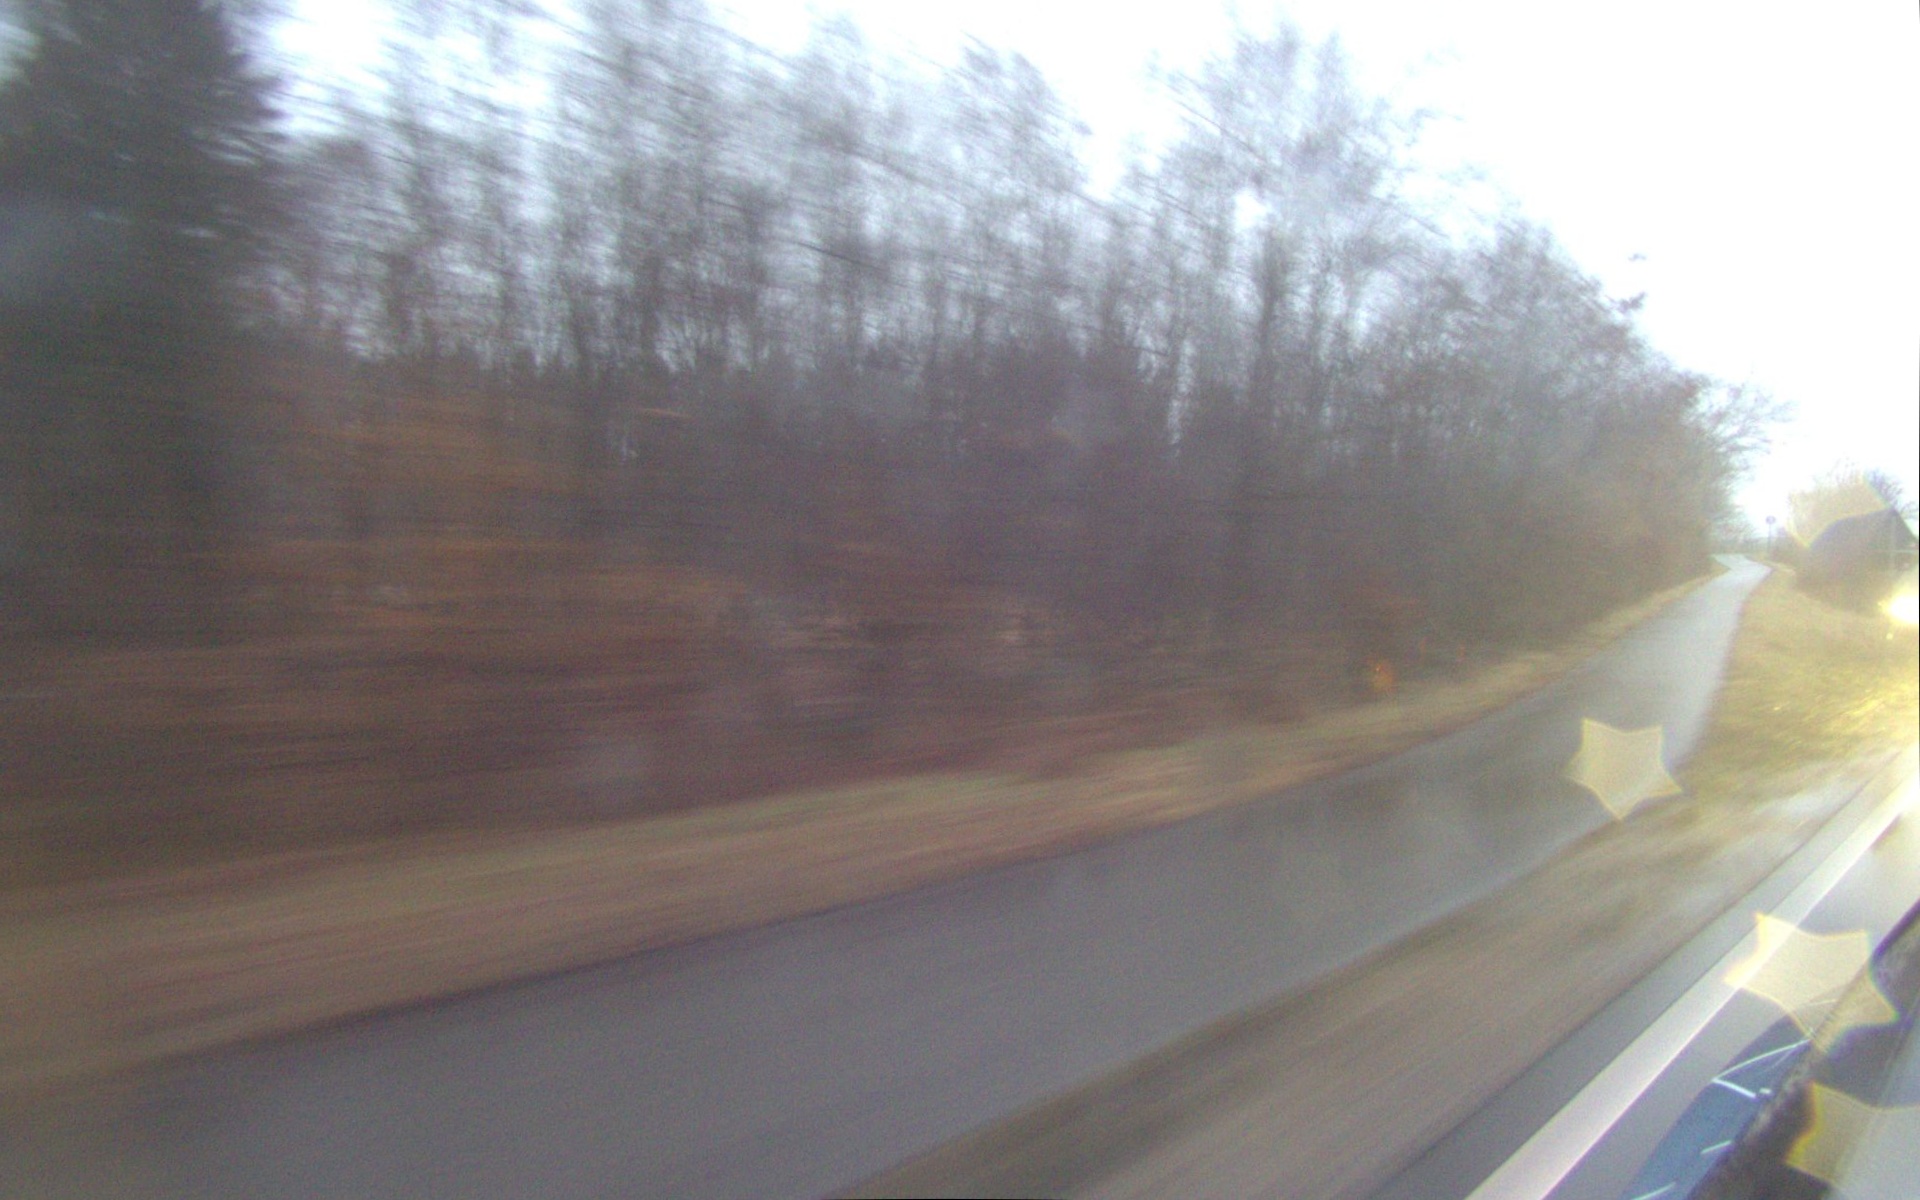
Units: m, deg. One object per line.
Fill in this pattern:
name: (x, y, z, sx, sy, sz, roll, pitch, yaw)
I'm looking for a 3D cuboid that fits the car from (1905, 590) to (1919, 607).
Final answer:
car: (108.538, -0.177, 114.777, 1.695, 1.752, 3.943, 0, 2, 40)
